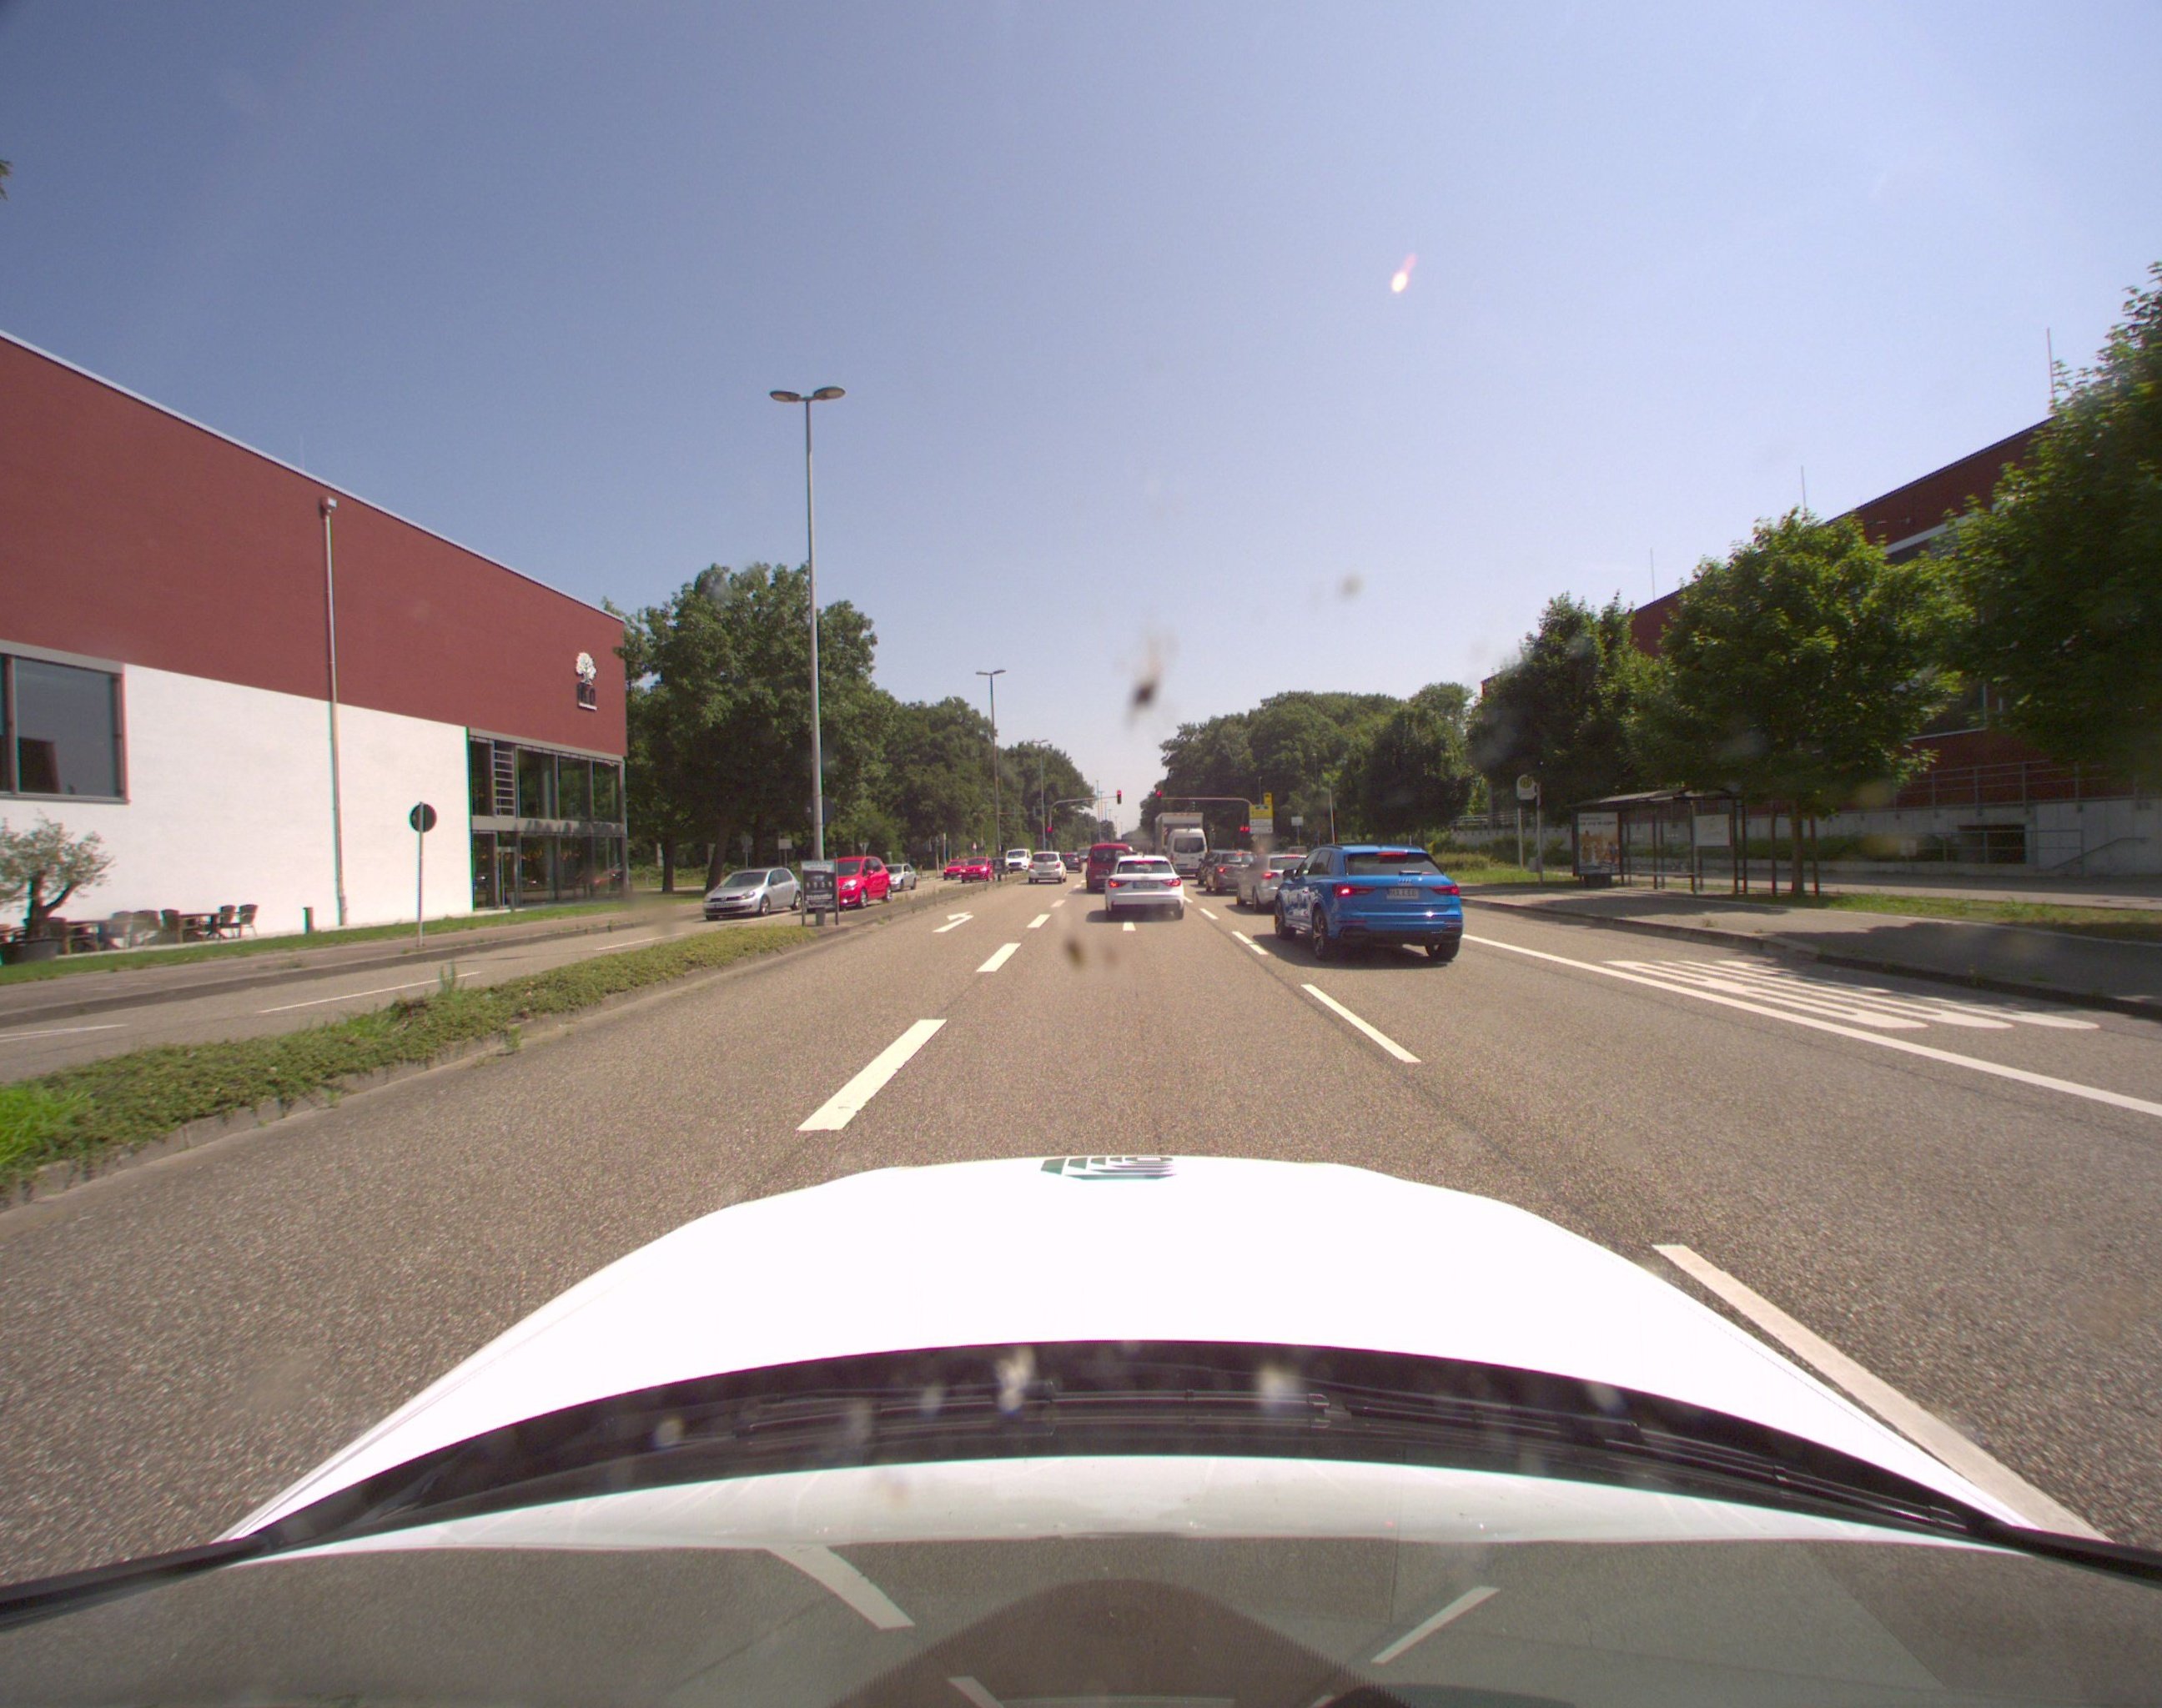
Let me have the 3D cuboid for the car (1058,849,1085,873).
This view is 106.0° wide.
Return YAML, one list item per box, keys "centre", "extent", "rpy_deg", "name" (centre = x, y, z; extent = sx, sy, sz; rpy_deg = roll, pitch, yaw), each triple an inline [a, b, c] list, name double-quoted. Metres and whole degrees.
- centre: [-0.640, 0.498, 59.270]
  extent: [1.768, 1.641, 4.038]
  rpy_deg: [-1, 0, 1]
  name: "car"

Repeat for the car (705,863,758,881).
- centre: [-33.755, 1.710, 78.838]
  extent: [4.368, 1.681, 1.805]
  rpy_deg: [0, -1, -9]
  name: "car"

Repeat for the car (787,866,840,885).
- centre: [-24.784, 2.017, 75.570]
  extent: [4.364, 1.681, 1.807]
  rpy_deg: [0, -1, -5]
  name: "car"

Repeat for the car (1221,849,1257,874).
- centre: [10.486, 0.488, 54.200]
  extent: [1.705, 1.546, 4.093]
  rpy_deg: [-1, 0, 1]
  name: "car"

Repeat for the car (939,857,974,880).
- centre: [-9.231, 1.075, 60.461]
  extent: [1.698, 1.452, 3.894]
  rpy_deg: [-5, 0, 3]
  name: "car"

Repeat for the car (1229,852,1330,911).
- centre: [4.965, 0.627, 20.869]
  extent: [1.705, 1.362, 4.093]
  rpy_deg: [0, 0, 1]
  name: "car"

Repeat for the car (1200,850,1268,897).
- centre: [5.308, 0.621, 28.676]
  extent: [1.705, 1.478, 4.093]
  rpy_deg: [2, 0, 1]
  name: "car"

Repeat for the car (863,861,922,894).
- centre: [-9.647, 1.187, 41.974]
  extent: [1.771, 1.404, 4.361]
  rpy_deg: [-5, 0, 2]
  name: "car"

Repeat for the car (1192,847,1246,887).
- centre: [5.879, 0.527, 35.058]
  extent: [1.705, 1.593, 4.093]
  rpy_deg: [-1, 0, 1]
  name: "car"

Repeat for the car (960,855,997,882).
- centre: [-6.044, 0.825, 48.518]
  extent: [1.575, 1.441, 3.610]
  rpy_deg: [-4, 0, 1]
  name: "car"

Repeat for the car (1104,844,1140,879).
- centre: [2.011, 0.342, 40.772]
  extent: [1.705, 1.631, 4.093]
  rpy_deg: [-1, 0, 1]
  name: "car"

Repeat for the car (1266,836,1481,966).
- centre: [4.188, 0.578, 12.475]
  extent: [1.830, 1.596, 4.402]
  rpy_deg: [-1, 0, 2]
  name: "car"

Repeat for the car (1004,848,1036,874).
- centre: [-5.101, 0.534, 68.501]
  extent: [1.986, 1.945, 4.910]
  rpy_deg: [-4, 0, 2]
  name: "car"

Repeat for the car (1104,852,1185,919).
- centre: [1.400, 0.659, 19.289]
  extent: [1.705, 1.386, 4.093]
  rpy_deg: [-1, 0, 1]
  name: "car"

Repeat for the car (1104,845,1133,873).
- centre: [2.277, 0.298, 50.728]
  extent: [1.705, 1.631, 4.093]
  rpy_deg: [-1, 0, 1]
  name: "car"

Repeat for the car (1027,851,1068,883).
- centre: [-1.582, 0.604, 40.035]
  extent: [1.705, 1.492, 4.093]
  rpy_deg: [-1, 0, 1]
  name: "car"

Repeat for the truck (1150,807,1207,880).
- centre: [6.485, -0.697, 55.672]
  extent: [3.075, 4.434, 11.589]
  rpy_deg: [-1, 0, 3]
  name: "truck"

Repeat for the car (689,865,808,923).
- centre: [-10.203, 1.165, 25.354]
  extent: [1.742, 1.451, 4.136]
  rpy_deg: [-4, 0, 2]
  name: "car"

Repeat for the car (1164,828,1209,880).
- centre: [5.696, -0.012, 44.493]
  extent: [2.023, 2.644, 4.848]
  rpy_deg: [-1, 0, 2]
  name: "car"

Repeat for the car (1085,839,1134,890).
- centre: [1.057, 0.370, 30.707]
  extent: [1.705, 1.748, 4.093]
  rpy_deg: [-1, 0, 1]
  name: "car"

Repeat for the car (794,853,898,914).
- centre: [-7.173, 0.839, 25.283]
  extent: [1.742, 1.569, 4.156]
  rpy_deg: [-4, 0, 2]
  name: "car"
